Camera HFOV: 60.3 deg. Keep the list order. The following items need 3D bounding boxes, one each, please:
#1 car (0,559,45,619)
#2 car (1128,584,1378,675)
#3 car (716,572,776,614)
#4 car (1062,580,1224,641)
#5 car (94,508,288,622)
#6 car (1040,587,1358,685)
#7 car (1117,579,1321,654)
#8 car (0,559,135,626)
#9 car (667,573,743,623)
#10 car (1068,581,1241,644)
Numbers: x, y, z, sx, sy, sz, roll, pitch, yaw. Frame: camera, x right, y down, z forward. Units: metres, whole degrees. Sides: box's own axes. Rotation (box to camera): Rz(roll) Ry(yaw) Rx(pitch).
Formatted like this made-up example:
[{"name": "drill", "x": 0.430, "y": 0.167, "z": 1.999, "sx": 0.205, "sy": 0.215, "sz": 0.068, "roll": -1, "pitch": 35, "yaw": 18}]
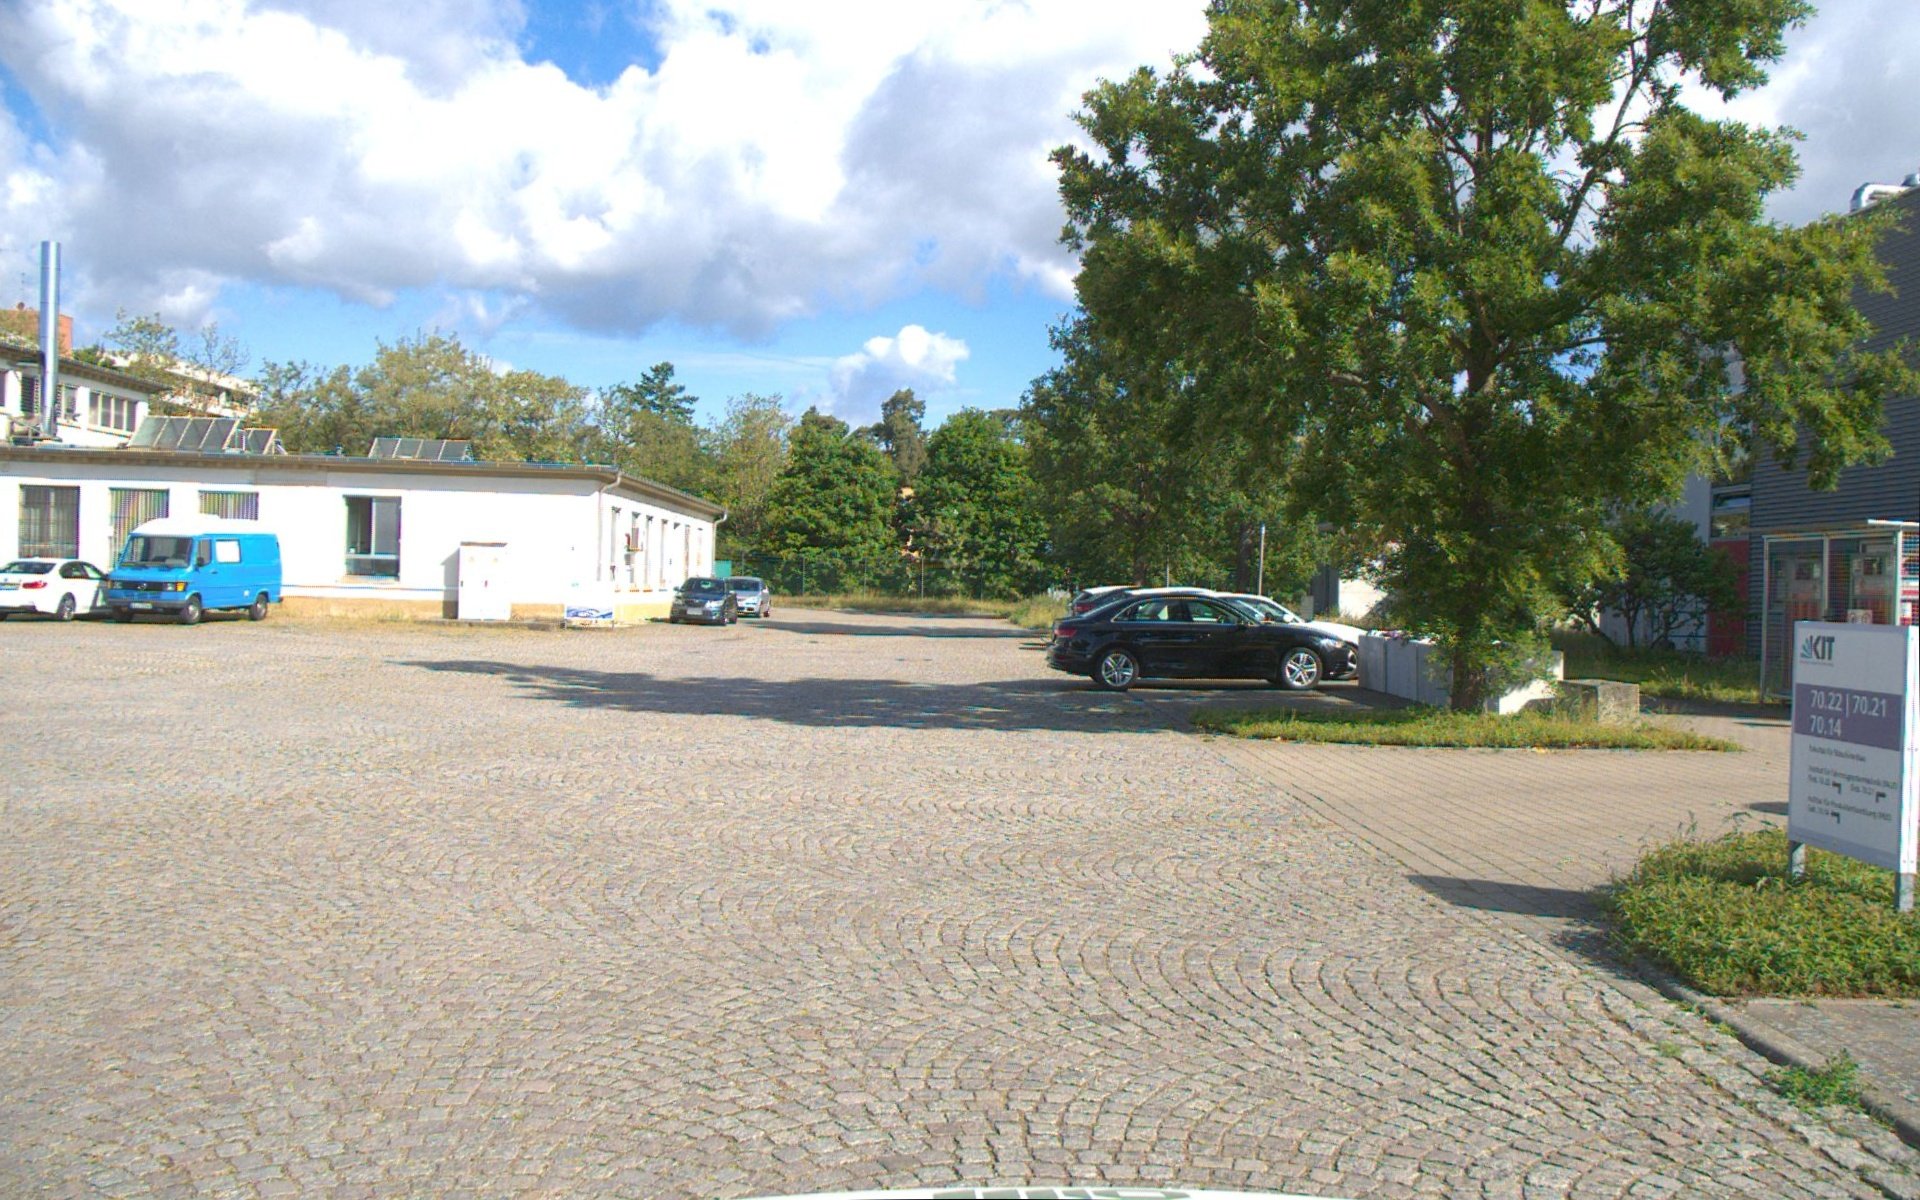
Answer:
[{"name": "car", "x": -23.954, "y": -0.283, "z": 39.743, "sx": 1.652, "sy": 1.423, "sz": 3.833, "roll": 2, "pitch": 1, "yaw": 2}, {"name": "car", "x": 4.923, "y": 0.480, "z": 28.234, "sx": 4.051, "sy": 1.485, "sz": 1.692, "roll": 0, "pitch": 0, "yaw": 4}, {"name": "car", "x": -7.994, "y": -0.277, "z": 62.040, "sx": 1.652, "sy": 1.460, "sz": 3.987, "roll": 2, "pitch": 1, "yaw": 0}, {"name": "car", "x": 4.510, "y": 0.247, "z": 41.083, "sx": 3.832, "sy": 1.460, "sz": 1.796, "roll": 0, "pitch": 0, "yaw": 0}, {"name": "car", "x": -18.418, "y": -0.814, "z": 39.927, "sx": 2.039, "sy": 2.526, "sz": 5.240, "roll": 1, "pitch": 1, "yaw": 2}, {"name": "car", "x": 3.612, "y": 0.528, "z": 25.481, "sx": 4.623, "sy": 1.448, "sz": 1.756, "roll": 0, "pitch": 0, "yaw": -2}, {"name": "car", "x": 5.169, "y": 0.313, "z": 33.345, "sx": 3.832, "sy": 1.472, "sz": 1.756, "roll": 0, "pitch": 0, "yaw": 0}, {"name": "car", "x": -21.202, "y": -0.208, "z": 38.837, "sx": 1.696, "sy": 1.430, "sz": 3.740, "roll": 1, "pitch": 2, "yaw": 2}, {"name": "car", "x": -7.955, "y": -0.075, "z": 51.956, "sx": 1.727, "sy": 1.460, "sz": 3.992, "roll": 2, "pitch": 1, "yaw": 0}, {"name": "car", "x": 4.486, "y": 0.275, "z": 38.437, "sx": 3.832, "sy": 1.442, "sz": 1.692, "roll": 0, "pitch": 0, "yaw": 0}]
